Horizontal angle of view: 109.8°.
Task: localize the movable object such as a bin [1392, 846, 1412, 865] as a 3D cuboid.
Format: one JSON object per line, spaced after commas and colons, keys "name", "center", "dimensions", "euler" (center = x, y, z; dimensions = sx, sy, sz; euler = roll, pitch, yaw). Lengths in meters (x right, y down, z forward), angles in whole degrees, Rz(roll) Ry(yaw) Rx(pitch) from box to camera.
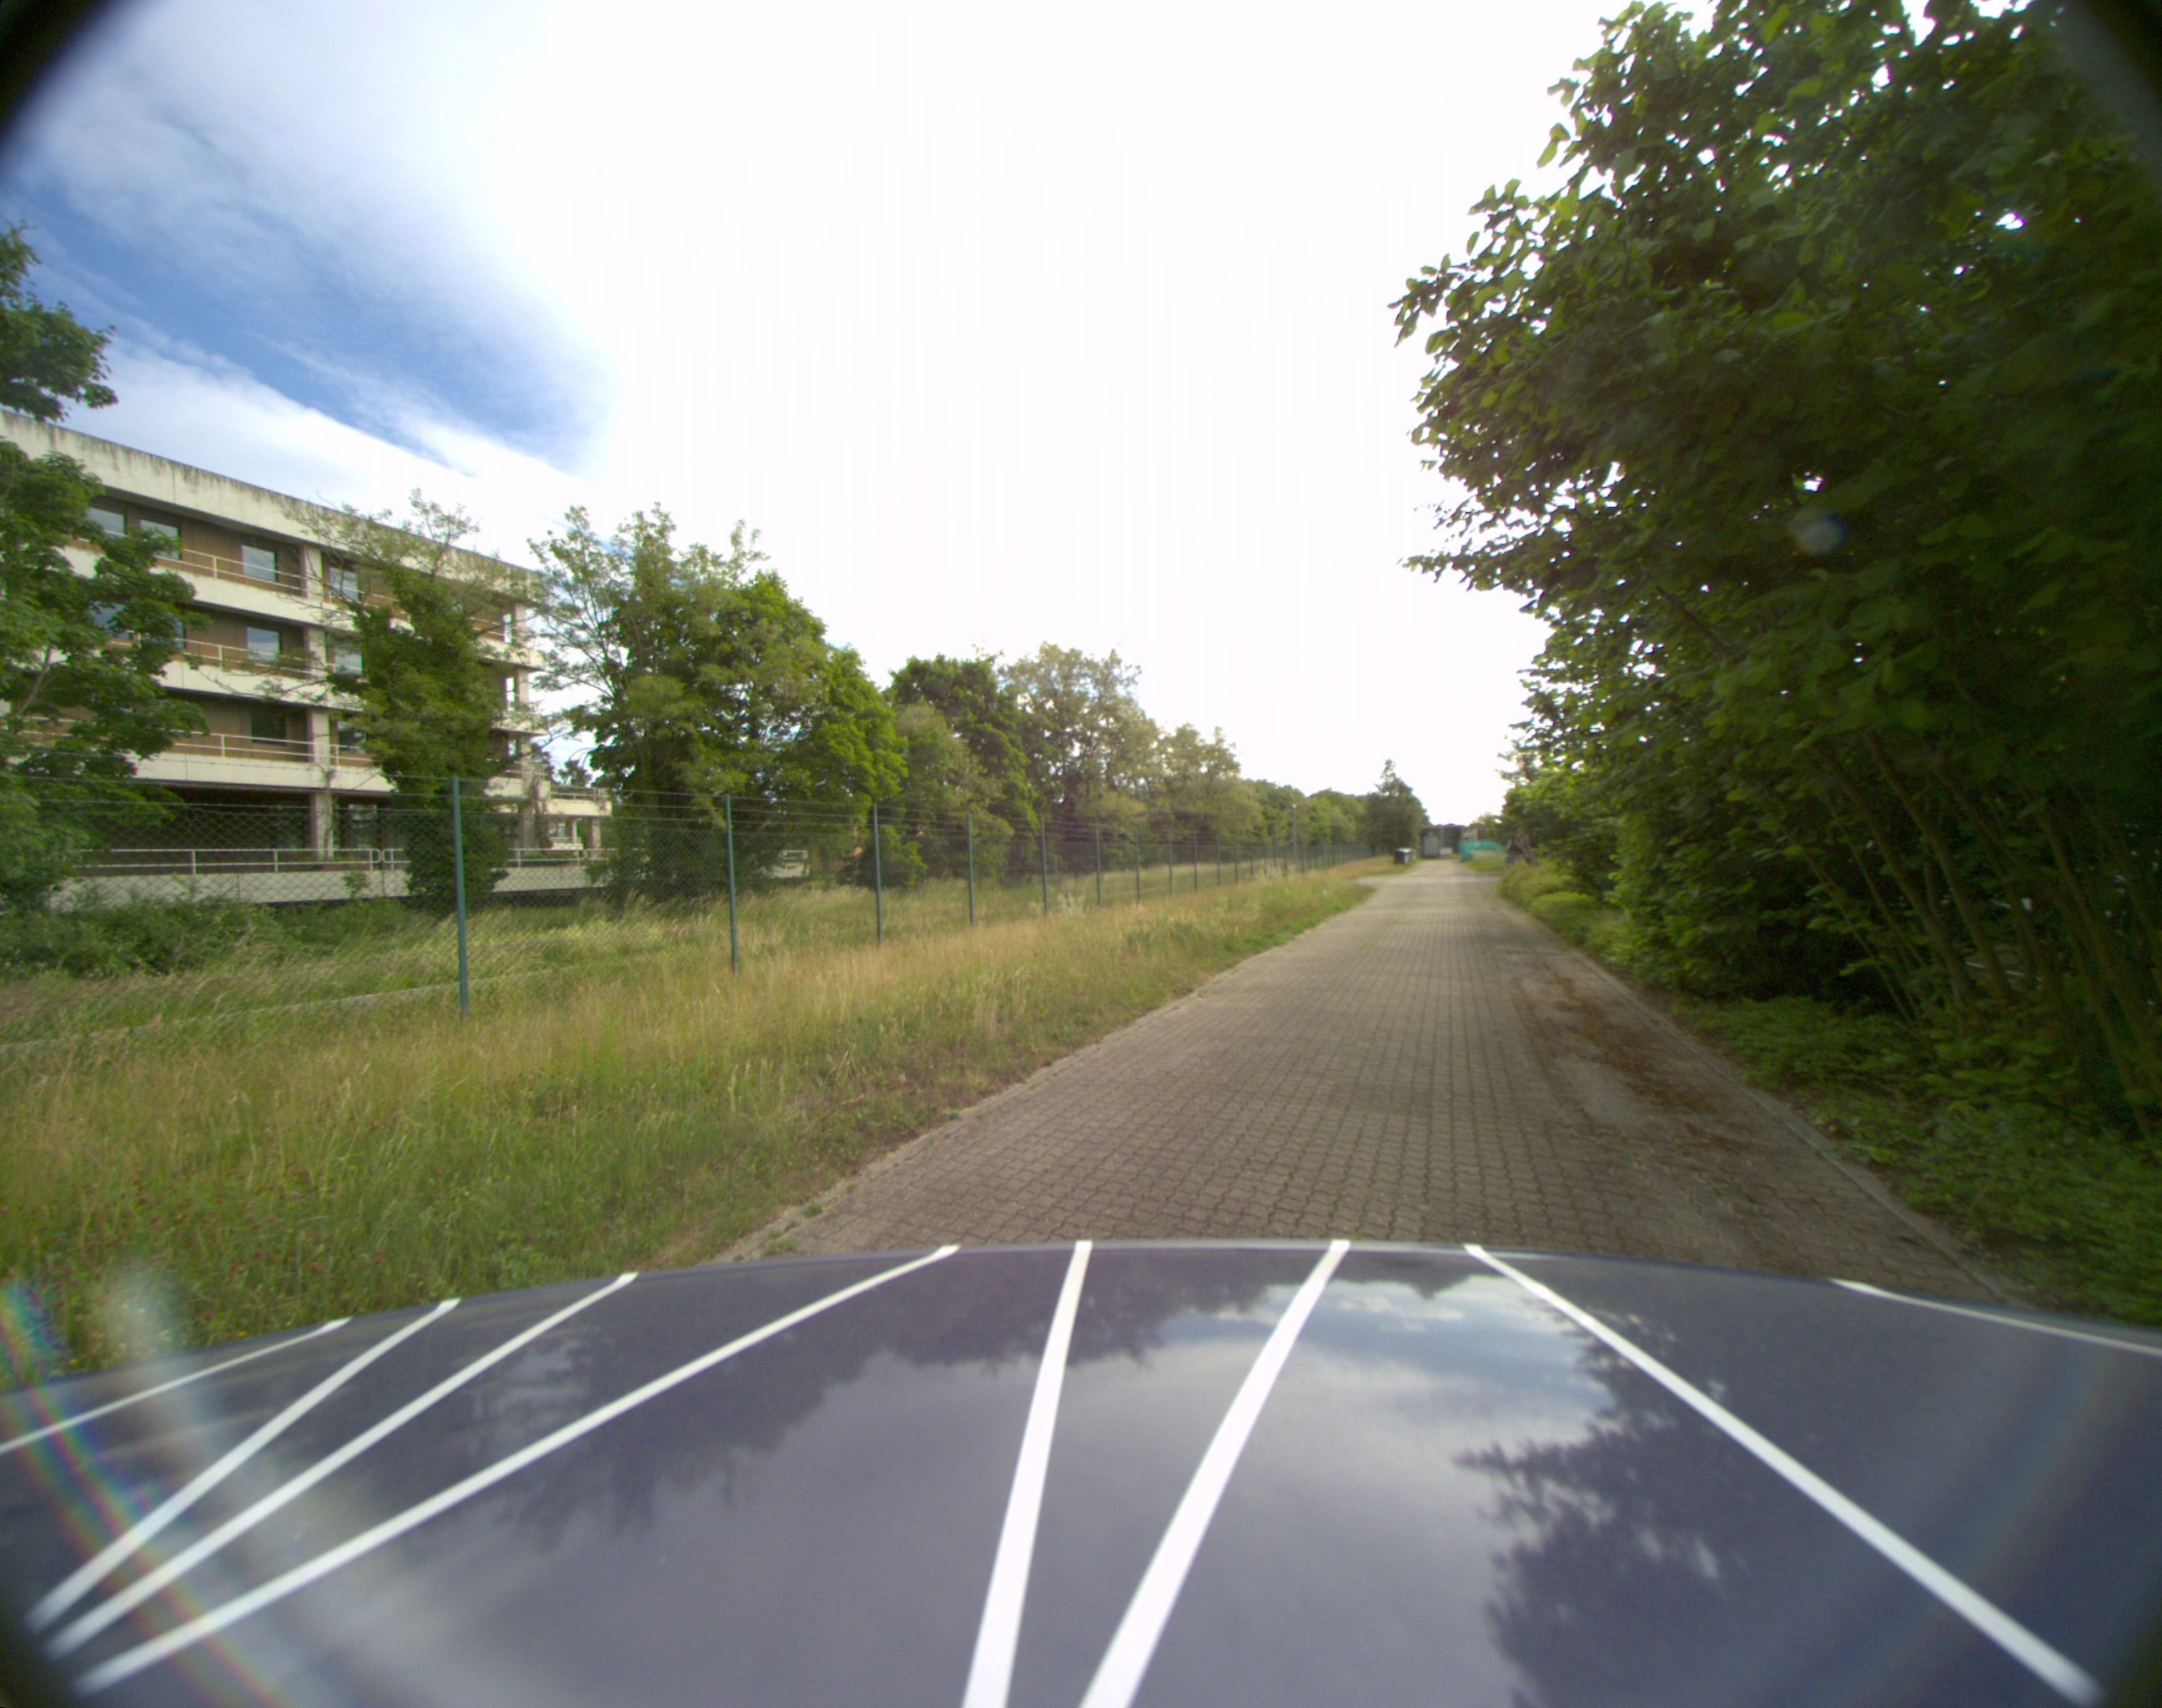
{"name": "movable object such as a bin", "center": [26.616, 0.145, 62.967], "dimensions": [1.435, 1.489, 1.835], "euler": [-2, 0, 26]}
